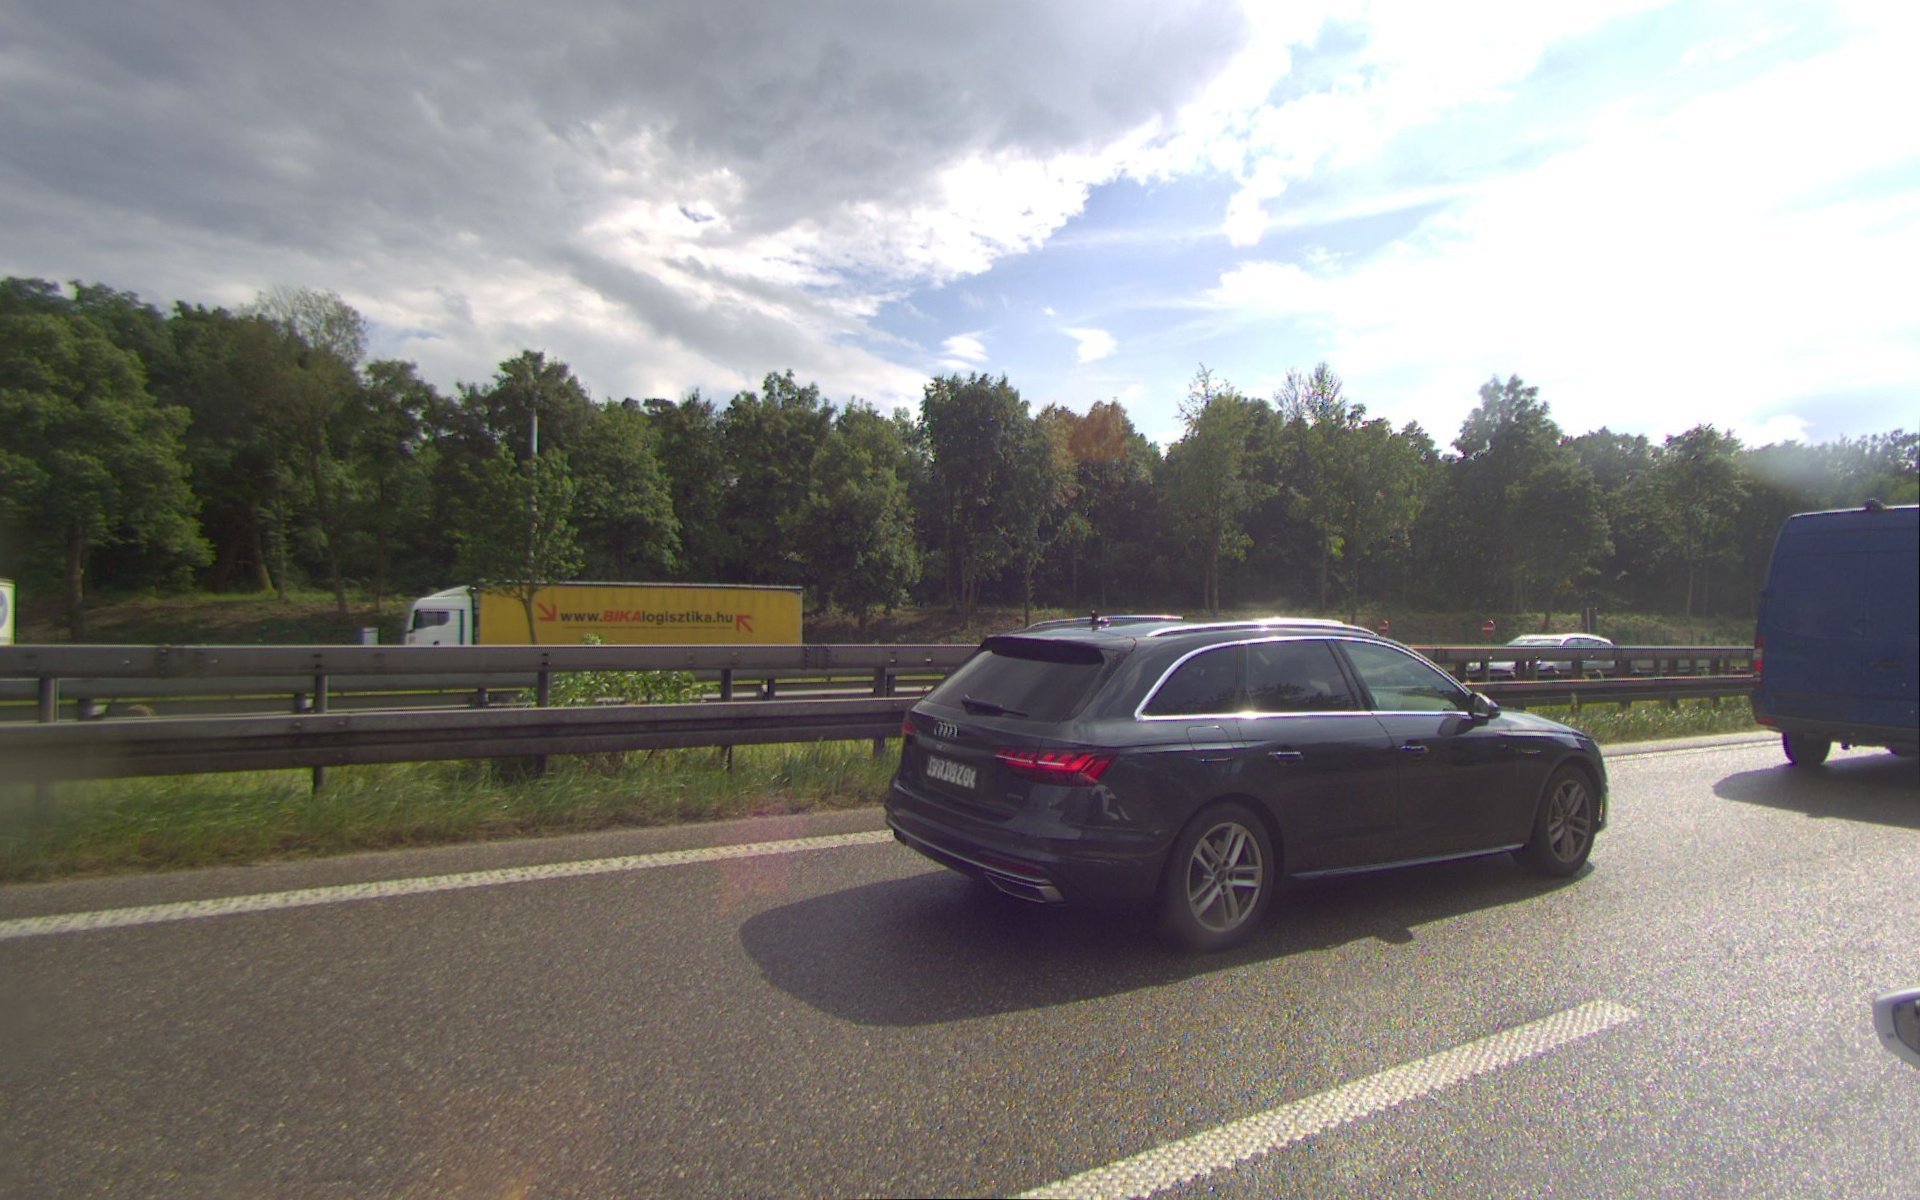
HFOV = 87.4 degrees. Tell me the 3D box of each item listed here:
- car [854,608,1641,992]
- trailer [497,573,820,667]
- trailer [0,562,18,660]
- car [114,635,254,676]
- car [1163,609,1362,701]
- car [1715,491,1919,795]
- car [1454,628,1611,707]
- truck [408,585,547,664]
[{"bbox_3d":[1.776,0.814,5.668,4.416,1.430,1.711,2,0,-31],"label":"car"},{"bbox_3d":[-13.129,0.959,44.817,13.441,3.744,1.992,2,0,-18],"label":"trailer"},{"bbox_3d":[-41.013,0.299,35.180,11.549,3.647,2.178,1,-2,-23],"label":"trailer"},{"bbox_3d":[-30.385,2.164,39.466,3.942,1.523,1.891,1,-2,-22],"label":"car"},{"bbox_3d":[7.427,1.308,24.539,4.676,2.040,1.984,2,0,-30],"label":"car"},{"bbox_3d":[10.673,0.442,10.799,5.708,2.684,2.006,2,0,-30],"label":"car"},{"bbox_3d":[13.195,1.515,23.118,3.740,1.628,1.525,2,0,-32],"label":"car"},{"bbox_3d":[-20.305,1.027,42.508,4.996,3.139,1.974,2,0,-18],"label":"truck"}]
